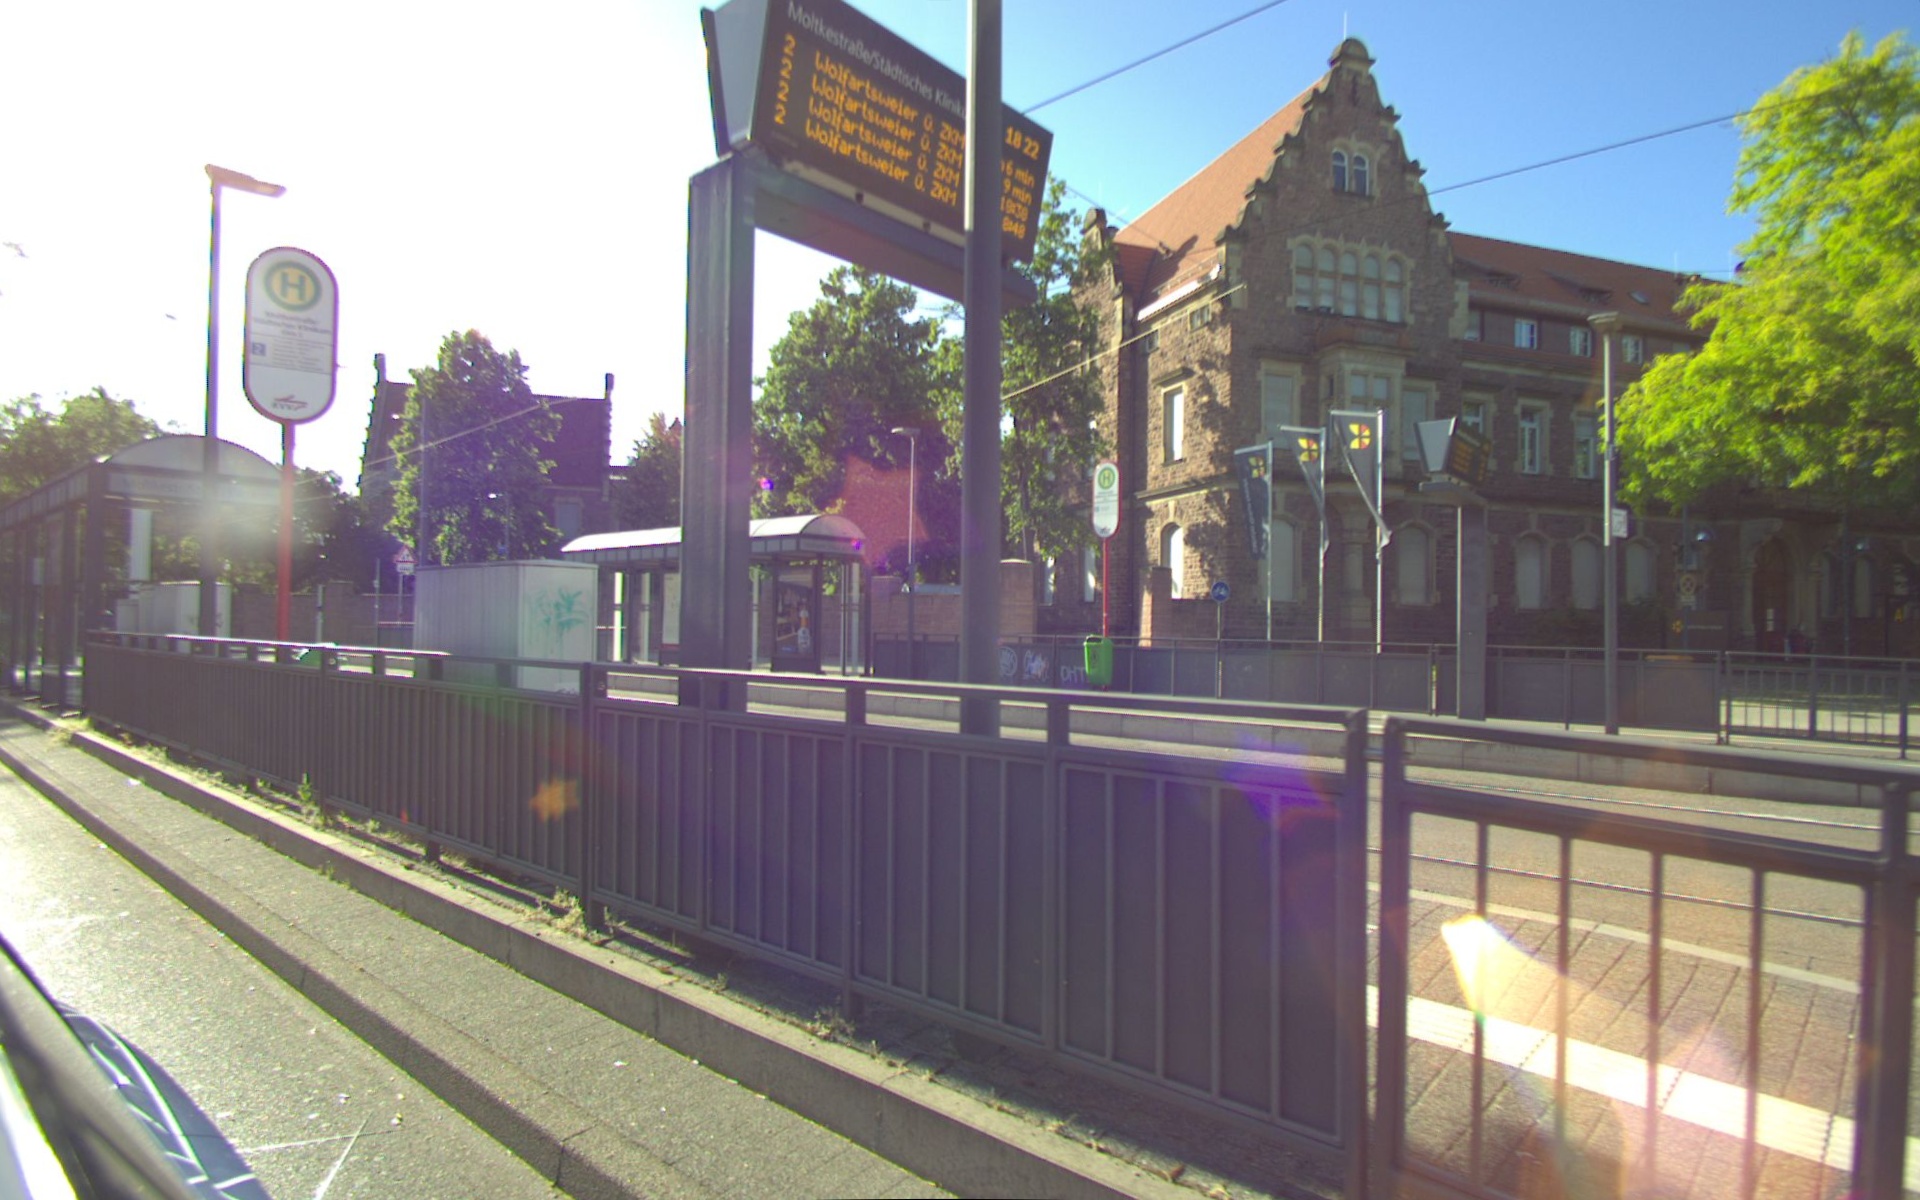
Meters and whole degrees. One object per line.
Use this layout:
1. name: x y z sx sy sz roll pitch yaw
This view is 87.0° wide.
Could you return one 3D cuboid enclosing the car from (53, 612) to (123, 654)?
1. car: -36.558 1.357 42.410 1.884 1.690 4.360 2 -2 -45
